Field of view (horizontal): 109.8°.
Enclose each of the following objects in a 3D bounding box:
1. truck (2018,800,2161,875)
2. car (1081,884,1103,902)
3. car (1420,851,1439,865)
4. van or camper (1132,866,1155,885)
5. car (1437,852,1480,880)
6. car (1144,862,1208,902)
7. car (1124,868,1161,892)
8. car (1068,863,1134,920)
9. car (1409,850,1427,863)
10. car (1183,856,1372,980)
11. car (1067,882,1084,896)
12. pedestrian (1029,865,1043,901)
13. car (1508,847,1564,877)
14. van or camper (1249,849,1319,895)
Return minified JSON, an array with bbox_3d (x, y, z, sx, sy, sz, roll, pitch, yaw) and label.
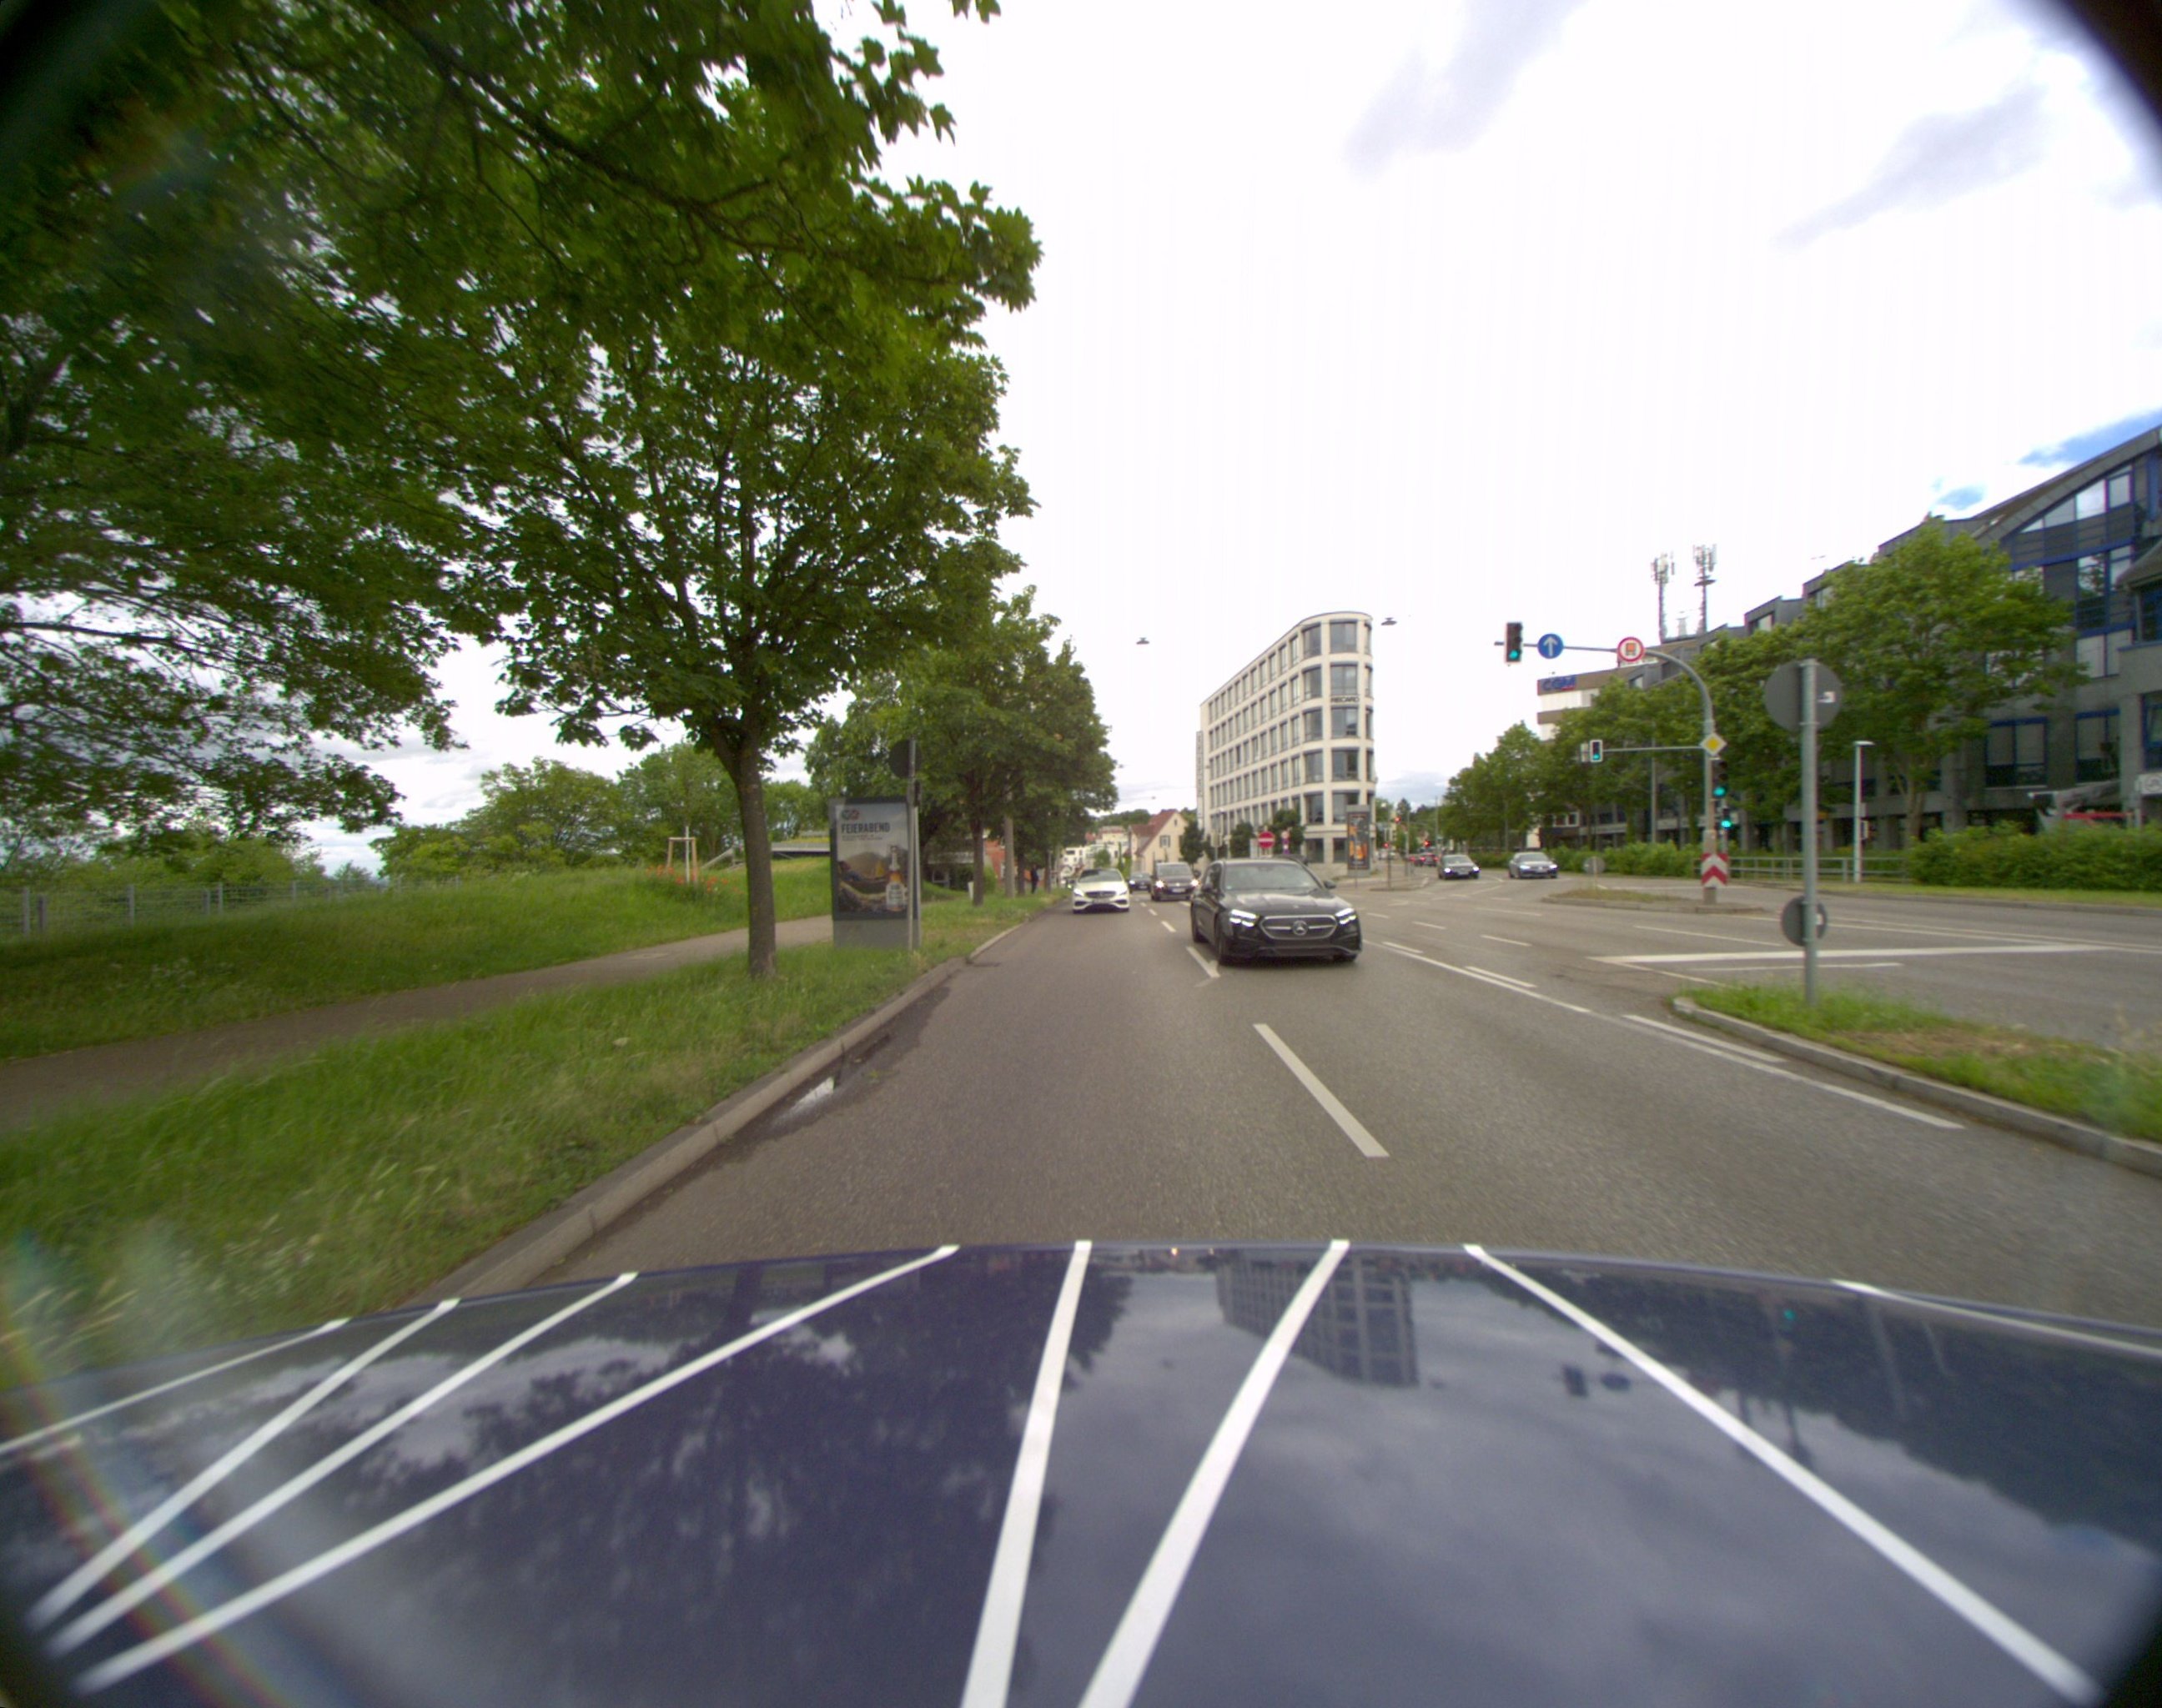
[{"bbox_3d":[35.768,-0.513,26.500,1.996,2.371,4.007,-4,-3,21],"label":"truck"},{"bbox_3d":[1.039,3.834,74.987,1.713,1.679,3.792,-1,-2,-6],"label":"car"},{"bbox_3d":[41.671,0.439,90.946,1.715,1.454,4.447,-4,-1,20],"label":"car"},{"bbox_3d":[6.802,2.358,83.460,1.999,2.001,4.450,-1,-1,-1],"label":"van or camper"},{"bbox_3d":[22.577,0.686,45.553,1.778,1.454,4.447,-4,-1,20],"label":"car"},{"bbox_3d":[3.955,1.227,32.253,1.879,1.520,4.001,-1,-3,-5],"label":"car"},{"bbox_3d":[4.288,1.867,53.517,1.879,1.520,4.001,-1,-3,-5],"label":"car"},{"bbox_3d":[0.692,1.134,23.889,1.809,1.520,4.002,-4,-2,3],"label":"car"},{"bbox_3d":[43.621,0.327,98.390,1.715,1.454,4.447,-4,-1,20],"label":"car"},{"bbox_3d":[2.797,0.848,11.861,1.878,1.521,4.336,-2,-1,1],"label":"car"},{"bbox_3d":[-0.704,4.358,96.053,1.713,1.679,3.792,-1,-2,-6],"label":"car"},{"bbox_3d":[-2.292,1.487,38.826,0.644,1.844,0.673,-1,-2,-4],"label":"pedestrian"},{"bbox_3d":[24.977,0.448,41.821,1.778,1.454,4.447,-4,-2,20],"label":"car"},{"bbox_3d":[9.573,0.830,36.276,1.931,1.926,5.249,-2,-1,1],"label":"van or camper"}]
